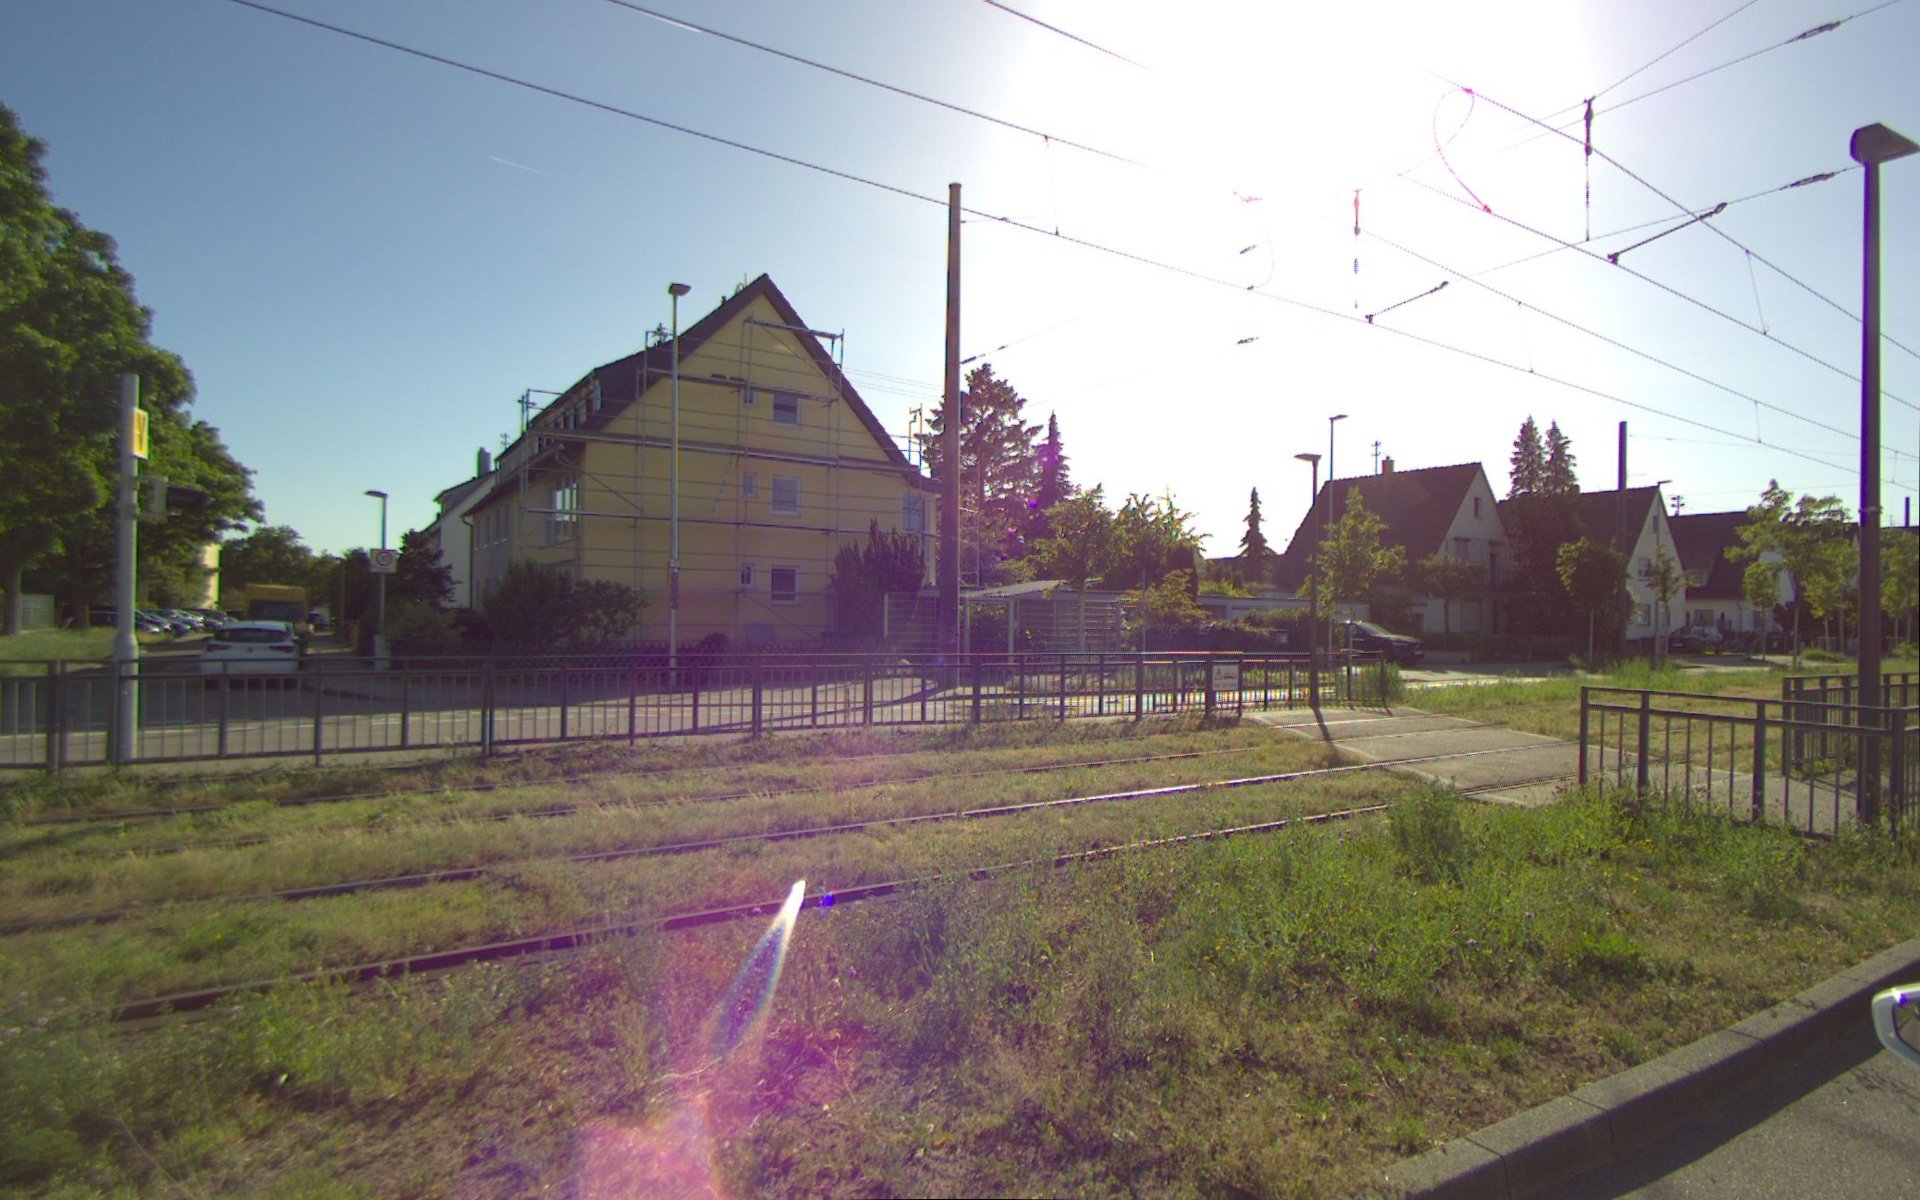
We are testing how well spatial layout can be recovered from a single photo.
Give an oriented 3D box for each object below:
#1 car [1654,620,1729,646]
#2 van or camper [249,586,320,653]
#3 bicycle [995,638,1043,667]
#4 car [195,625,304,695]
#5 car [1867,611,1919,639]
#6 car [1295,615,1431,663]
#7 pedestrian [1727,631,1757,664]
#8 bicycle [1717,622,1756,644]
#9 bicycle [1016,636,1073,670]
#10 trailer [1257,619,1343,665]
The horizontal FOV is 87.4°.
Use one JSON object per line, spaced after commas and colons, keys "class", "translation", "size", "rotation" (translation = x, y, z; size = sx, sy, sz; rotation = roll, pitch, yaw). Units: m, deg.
{"class": "car", "translation": [42.910, 1.920, 58.877], "size": [5.108, 1.469, 1.923], "rotation": [1, -1, -34]}
{"class": "van or camper", "translation": [-26.291, 0.662, 39.089], "size": [2.090, 2.380, 7.185], "rotation": [1, 0, -34]}
{"class": "bicycle", "translation": [1.735, 1.532, 29.414], "size": [1.493, 0.832, 0.309], "rotation": [2, 0, -34]}
{"class": "car", "translation": [-16.310, 1.344, 23.207], "size": [1.834, 1.422, 3.963], "rotation": [4, -3, -34]}
{"class": "car", "translation": [73.452, 1.955, 78.223], "size": [1.917, 1.996, 3.953], "rotation": [1, 0, -40]}
{"class": "car", "translation": [15.547, 1.477, 38.936], "size": [2.039, 1.757, 4.495], "rotation": [1, -1, -44]}
{"class": "pedestrian", "translation": [39.976, 2.419, 51.345], "size": [1.074, 1.662, 0.959], "rotation": [1, -1, -33]}
{"class": "bicycle", "translation": [51.590, 2.194, 66.736], "size": [0.699, 1.384, 1.972], "rotation": [1, -1, -39]}
{"class": "bicycle", "translation": [2.460, 1.521, 29.070], "size": [1.730, 0.954, 0.420], "rotation": [2, 0, -34]}
{"class": "trailer", "translation": [13.092, 1.579, 38.801], "size": [1.385, 1.669, 2.894], "rotation": [1, -1, -35]}
